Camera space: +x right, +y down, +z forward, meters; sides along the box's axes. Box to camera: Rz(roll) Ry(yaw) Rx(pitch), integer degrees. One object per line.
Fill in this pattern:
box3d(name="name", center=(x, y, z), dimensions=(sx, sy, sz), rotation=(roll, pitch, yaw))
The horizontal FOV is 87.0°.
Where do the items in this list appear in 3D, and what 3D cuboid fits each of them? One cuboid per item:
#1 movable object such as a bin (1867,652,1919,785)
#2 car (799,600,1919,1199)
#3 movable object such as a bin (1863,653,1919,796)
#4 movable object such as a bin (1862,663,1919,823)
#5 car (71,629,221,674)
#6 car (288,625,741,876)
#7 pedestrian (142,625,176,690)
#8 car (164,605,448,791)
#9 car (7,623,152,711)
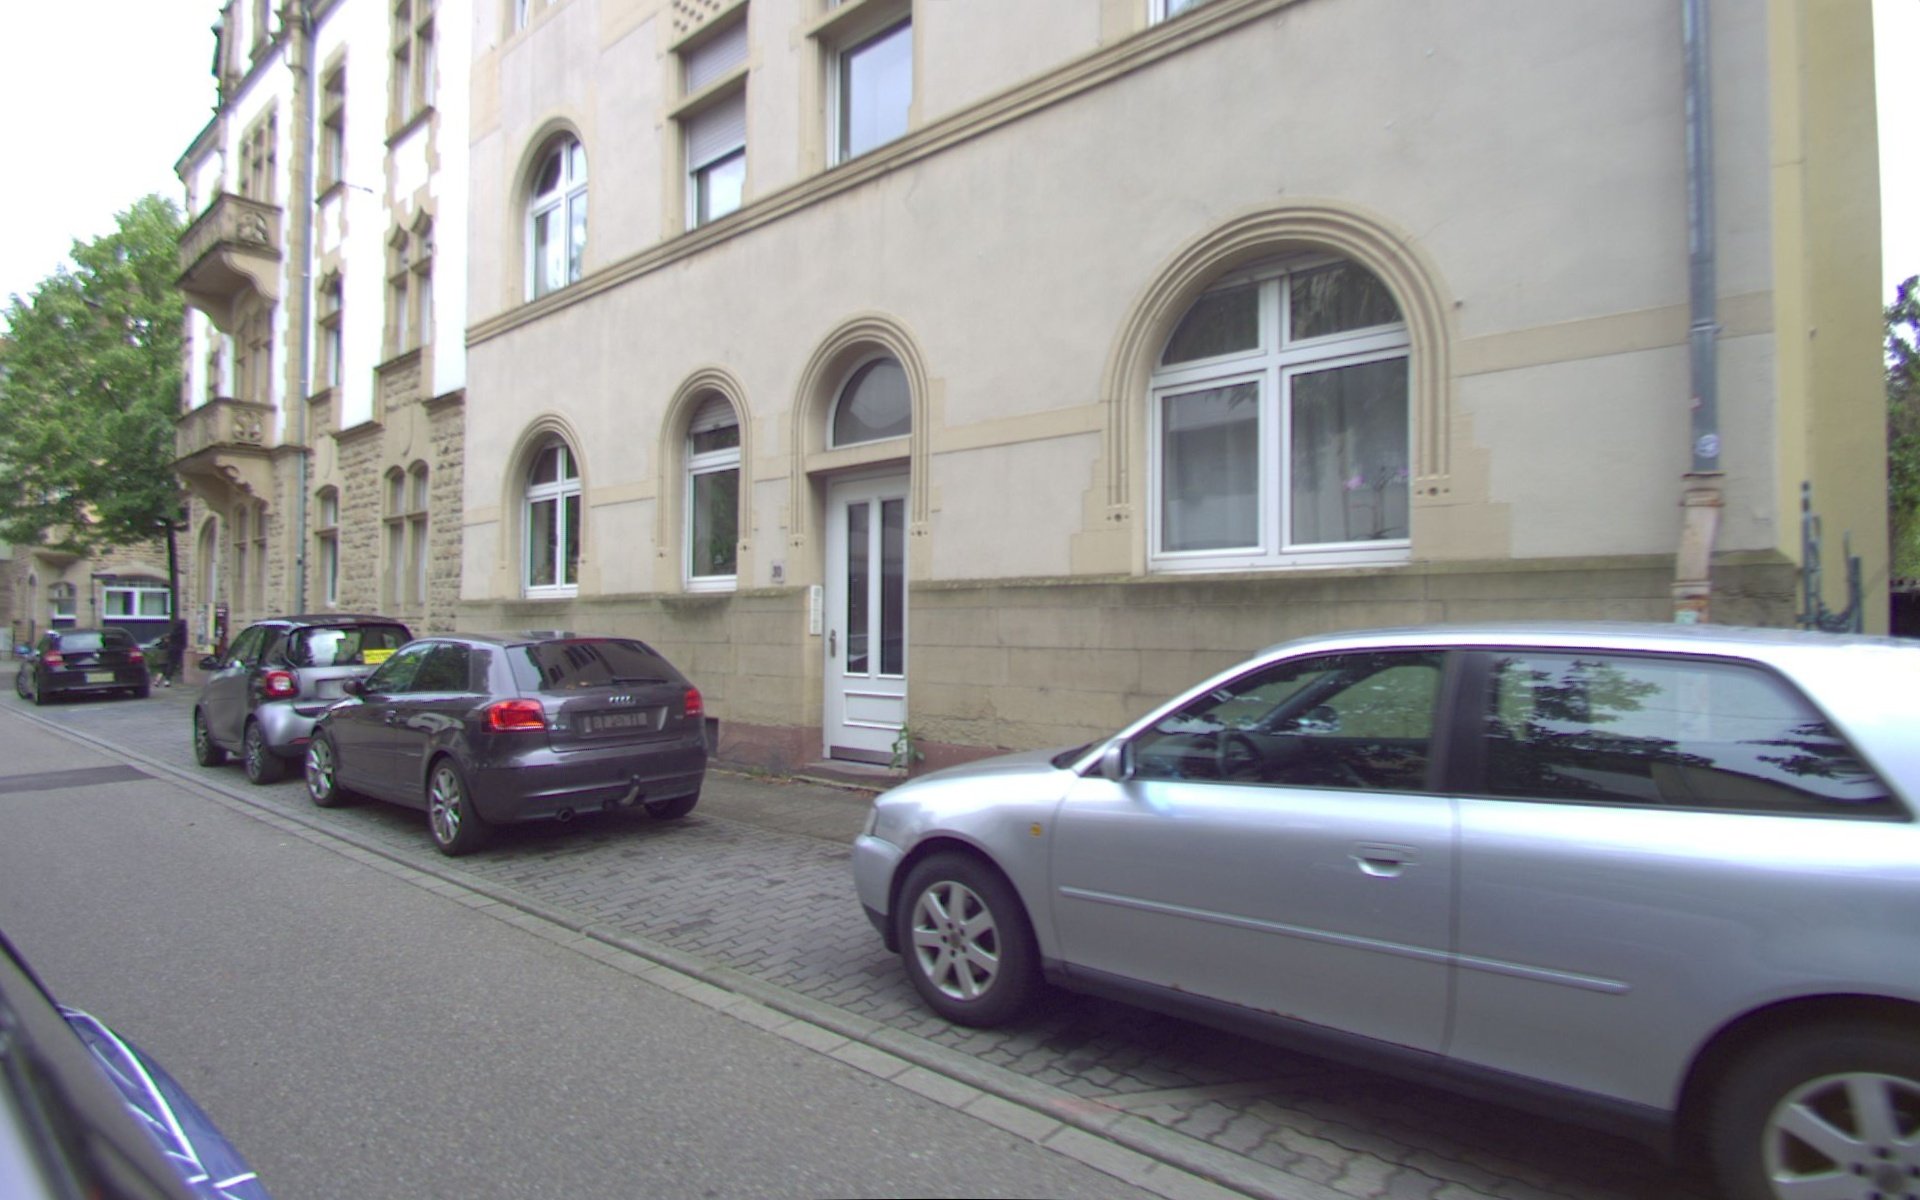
box3d(name="movable object such as a bin", center=(8.073, 0.975, 8.424), dimensions=(0.730, 1.063, 0.607), rotation=(-2, -2, 41))
box3d(name="car", center=(1.458, 0.731, 3.353), dimensions=(4.135, 1.397, 1.708), rotation=(-2, -1, 42))
box3d(name="movable object such as a bin", center=(7.511, 0.954, 7.835), dimensions=(0.730, 1.063, 0.607), rotation=(-2, -2, 41))
box3d(name="movable object such as a bin", center=(6.787, 0.985, 7.037), dimensions=(0.730, 1.063, 0.607), rotation=(-2, -2, 41))
box3d(name="car", center=(-30.227, 1.905, 37.653), dimensions=(4.220, 1.477, 1.665), rotation=(2, 0, -42))
box3d(name="car", center=(-3.541, 0.924, 7.685), dimensions=(3.928, 1.397, 1.707), rotation=(-2, -2, 42))
box3d(name="pedestrian", center=(-19.142, 1.363, 24.191), dimensions=(0.546, 1.530, 0.510), rotation=(-2, -3, 41))
box3d(name="car", center=(-6.811, 0.917, 10.468), dimensions=(2.954, 1.582, 1.630), rotation=(-3, 0, 40))
box3d(name="car", center=(-17.551, 1.267, 20.116), dimensions=(3.999, 1.506, 1.691), rotation=(-2, 0, 42))
